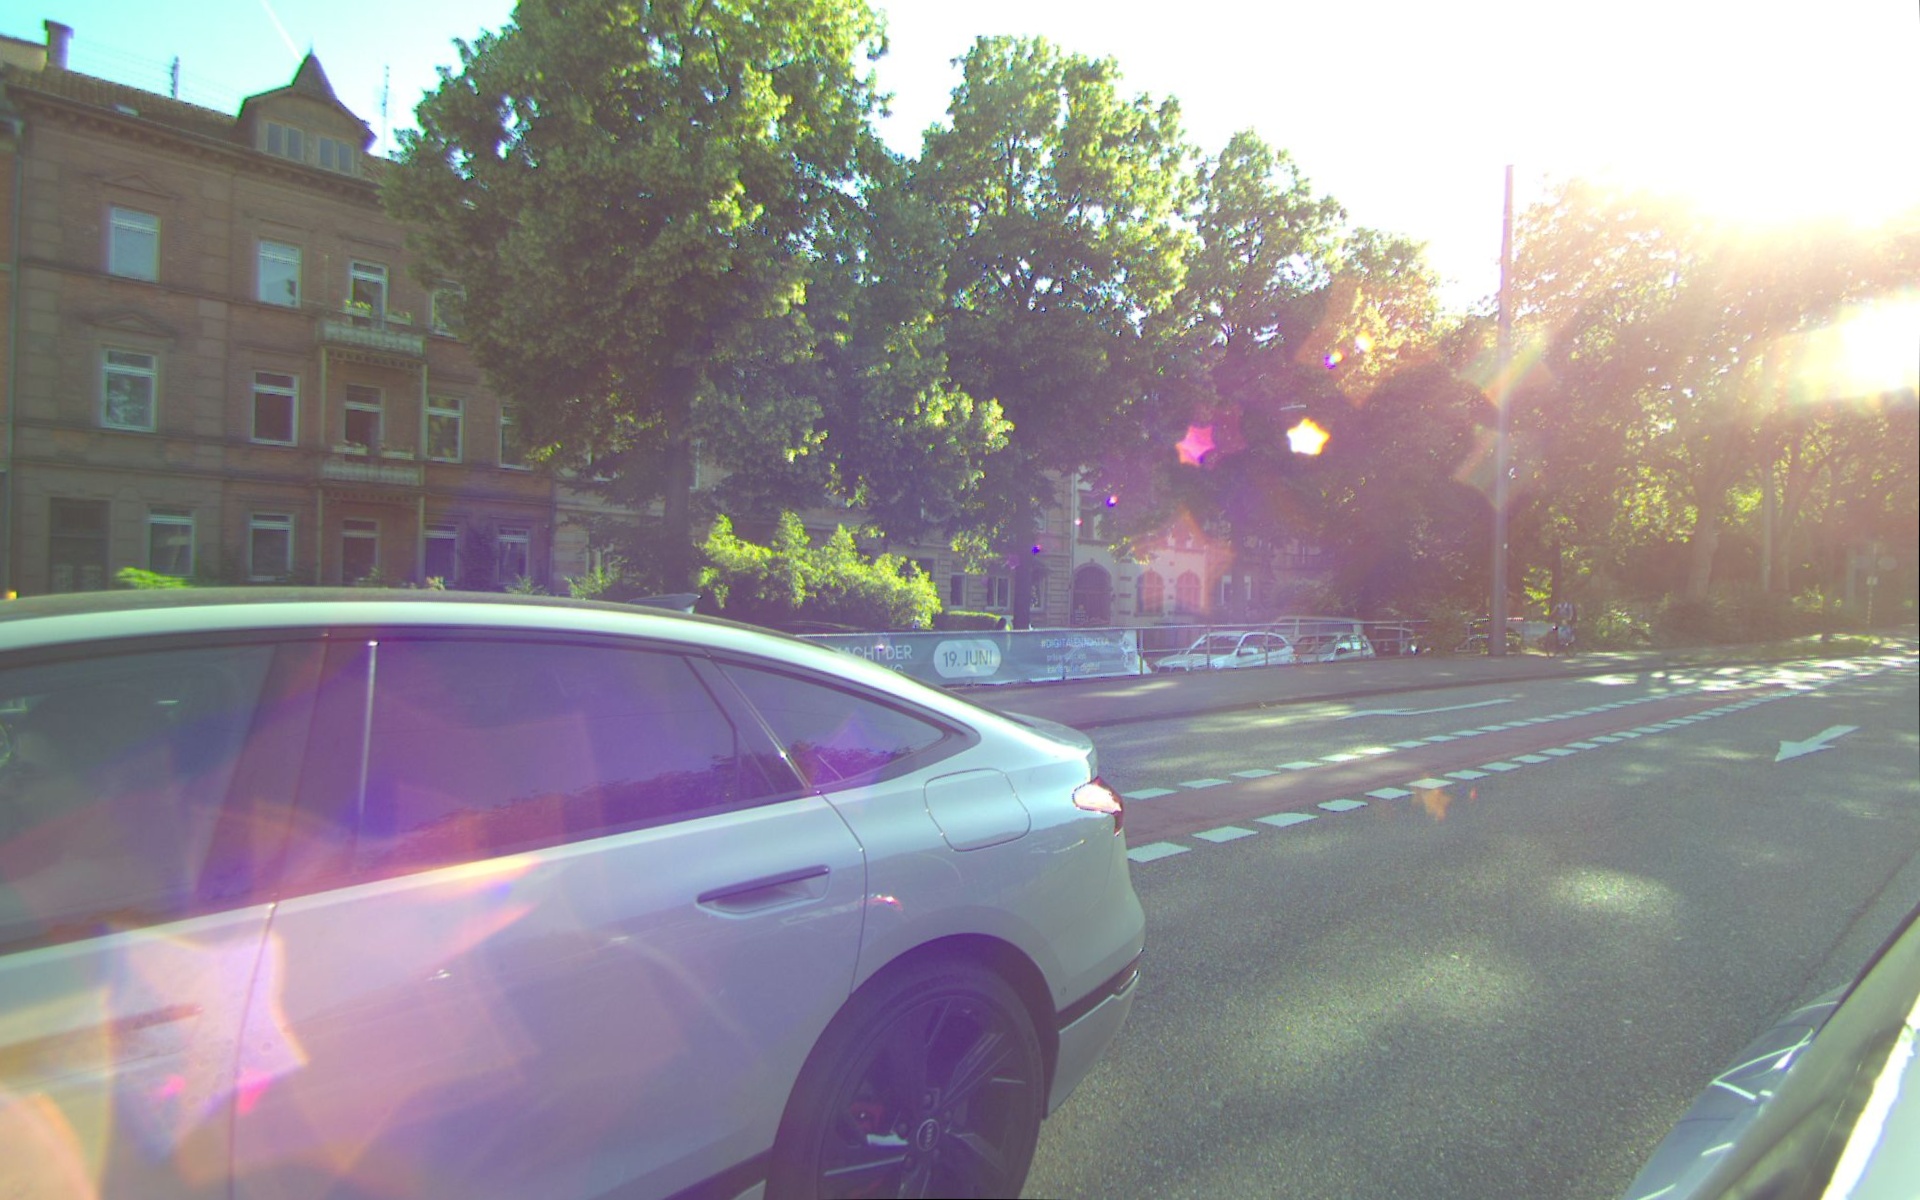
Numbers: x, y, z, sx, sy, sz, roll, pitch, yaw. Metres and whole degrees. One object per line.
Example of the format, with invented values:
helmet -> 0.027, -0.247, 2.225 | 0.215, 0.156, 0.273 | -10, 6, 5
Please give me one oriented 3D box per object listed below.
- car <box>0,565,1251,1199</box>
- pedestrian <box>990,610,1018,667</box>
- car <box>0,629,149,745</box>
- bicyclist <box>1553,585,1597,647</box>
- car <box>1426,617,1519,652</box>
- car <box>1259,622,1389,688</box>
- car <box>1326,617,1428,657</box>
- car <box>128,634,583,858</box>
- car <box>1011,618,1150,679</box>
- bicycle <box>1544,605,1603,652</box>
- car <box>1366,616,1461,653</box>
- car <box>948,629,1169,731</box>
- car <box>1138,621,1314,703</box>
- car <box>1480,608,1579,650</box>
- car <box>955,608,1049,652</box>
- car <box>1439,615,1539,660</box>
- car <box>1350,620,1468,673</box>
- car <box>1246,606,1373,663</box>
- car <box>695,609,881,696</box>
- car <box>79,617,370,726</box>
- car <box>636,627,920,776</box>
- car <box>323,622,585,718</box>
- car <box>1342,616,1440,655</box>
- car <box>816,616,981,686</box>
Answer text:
car -> -1.617, 0.693, 2.011 | 4.769, 1.491, 1.933 | 0, 0, -41
pedestrian -> 1.395, 1.201, 32.152 | 0.621, 1.768, 0.648 | 0, 0, -45
car -> -14.397, 1.184, 14.912 | 3.940, 1.365, 1.772 | 2, 1, 13
bicyclist -> 15.467, 0.387, 25.462 | 0.639, 1.532, 0.767 | 0, 0, -41
car -> 26.417, 1.762, 52.293 | 3.947, 1.529, 1.790 | 2, 1, 18
car -> 9.620, 1.389, 26.645 | 3.516, 1.459, 1.796 | -1, 1, -42
car -> 18.209, 1.599, 44.358 | 3.871, 1.470, 1.680 | 2, 1, 17
car -> -6.863, 1.467, 11.789 | 4.286, 1.922, 1.796 | -1, 0, -43
car -> 3.574, 1.398, 30.546 | 1.769, 1.532, 3.994 | 1, 1, -42
bicycle -> 15.435, 0.694, 25.449 | 1.768, 1.121, 0.767 | 0, 1, -41
car -> 21.863, 1.647, 48.969 | 3.947, 1.529, 1.790 | 2, 1, 18
car -> 2.000, 1.452, 19.727 | 4.365, 1.599, 1.797 | -1, 1, -41
car -> 6.322, 1.360, 23.762 | 4.474, 1.599, 1.797 | -1, 1, -41
car -> 31.420, 1.578, 55.939 | 4.408, 2.039, 1.984 | 2, 1, 20
car -> 1.641, 1.161, 40.582 | 1.770, 1.541, 3.570 | 0, 2, -43
car -> 18.181, 1.239, 34.730 | 3.932, 1.325, 1.796 | -1, 1, -42
car -> 13.458, 1.339, 30.273 | 3.932, 1.325, 1.796 | -1, 1, -42
car -> 13.879, 1.339, 40.403 | 4.621, 1.990, 1.862 | 2, 1, 18
car -> -4.055, 1.193, 24.092 | 3.939, 1.756, 1.793 | 2, 1, 13
car -> -12.398, 1.137, 17.148 | 3.937, 1.498, 1.794 | 2, 1, 11
car -> -2.716, 1.429, 15.799 | 1.793, 1.825, 4.147 | 0, 1, 42
car -> -9.470, 1.245, 19.036 | 4.190, 1.424, 1.955 | 2, 1, 16
car -> 19.827, 1.630, 46.770 | 3.947, 1.529, 1.790 | 2, 1, 18
car -> -1.604, 1.298, 26.668 | 3.951, 1.532, 1.788 | 2, 1, 21
